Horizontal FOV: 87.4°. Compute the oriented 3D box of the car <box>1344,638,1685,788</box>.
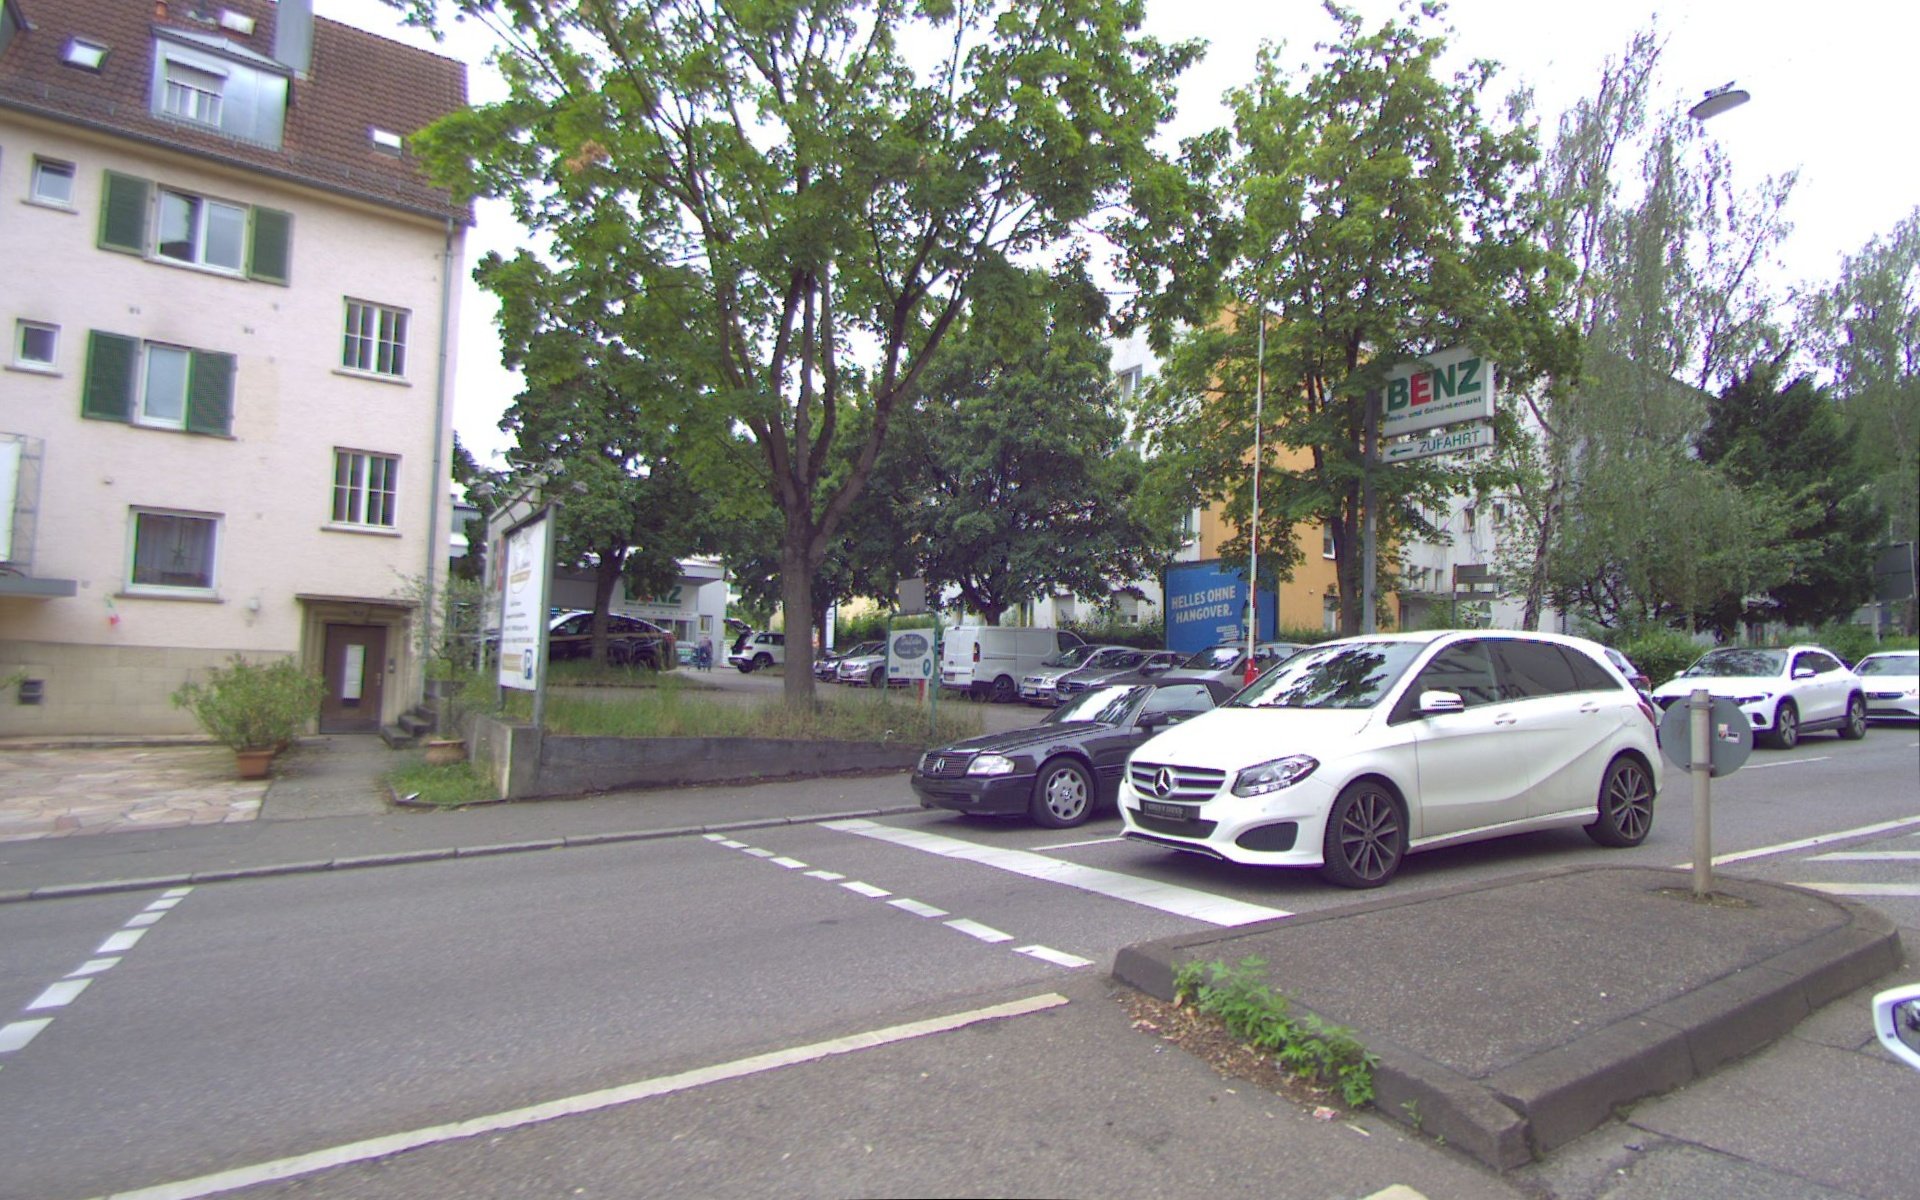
[{"bbox_3d":[7.434,1.419,13.406,4.361,1.663,1.943,1,-5,-30],"label":"car"}]

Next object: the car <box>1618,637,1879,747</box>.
[{"bbox_3d":[13.473,1.518,17.129,4.446,1.614,1.943,1,-5,-31],"label":"car"}]

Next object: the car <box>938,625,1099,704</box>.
[{"bbox_3d":[1.580,1.642,26.776,3.955,1.927,1.814,1,0,-32],"label":"car"}]

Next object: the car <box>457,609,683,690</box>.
[{"bbox_3d":[-9.559,1.170,24.814,4.865,1.827,2.044,1,-2,-38],"label":"car"}]

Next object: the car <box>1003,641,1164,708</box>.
[{"bbox_3d":[3.122,1.805,25.050,3.965,1.429,1.694,1,0,-38],"label":"car"}]

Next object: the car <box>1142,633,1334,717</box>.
[{"bbox_3d":[5.843,1.496,20.999,3.958,1.521,1.697,1,0,-34],"label":"car"}]

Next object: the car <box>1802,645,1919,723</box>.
[{"bbox_3d":[18.848,1.633,20.101,4.028,1.430,1.830,1,-5,-32],"label":"car"}]

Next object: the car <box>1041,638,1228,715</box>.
[{"bbox_3d":[3.937,1.651,22.558,3.951,1.521,1.700,1,0,-29],"label":"car"}]

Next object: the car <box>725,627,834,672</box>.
[{"bbox_3d":[-7.203,1.950,40.172,3.890,1.695,1.905,1,-2,-34],"label":"car"}]

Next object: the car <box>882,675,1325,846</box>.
[{"bbox_3d":[1.494,1.496,10.215,4.183,1.297,1.796,0,-5,-28],"label":"car"}]

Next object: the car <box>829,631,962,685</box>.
[{"bbox_3d":[-2.055,1.832,32.387,3.890,1.630,1.905,1,-2,-34],"label":"car"}]

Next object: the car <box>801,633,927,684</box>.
[{"bbox_3d":[-3.267,1.963,34.457,3.890,1.630,1.905,1,-2,-34],"label":"car"}]

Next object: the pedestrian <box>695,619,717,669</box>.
[{"bbox_3d":[-10.149,1.750,40.069,0.699,1.976,0.820,0,-1,-27],"label":"pedestrian"}]

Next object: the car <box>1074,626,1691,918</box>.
[{"bbox_3d":[3.132,1.055,7.345,4.269,1.566,1.770,0,-5,-27],"label":"car"}]
